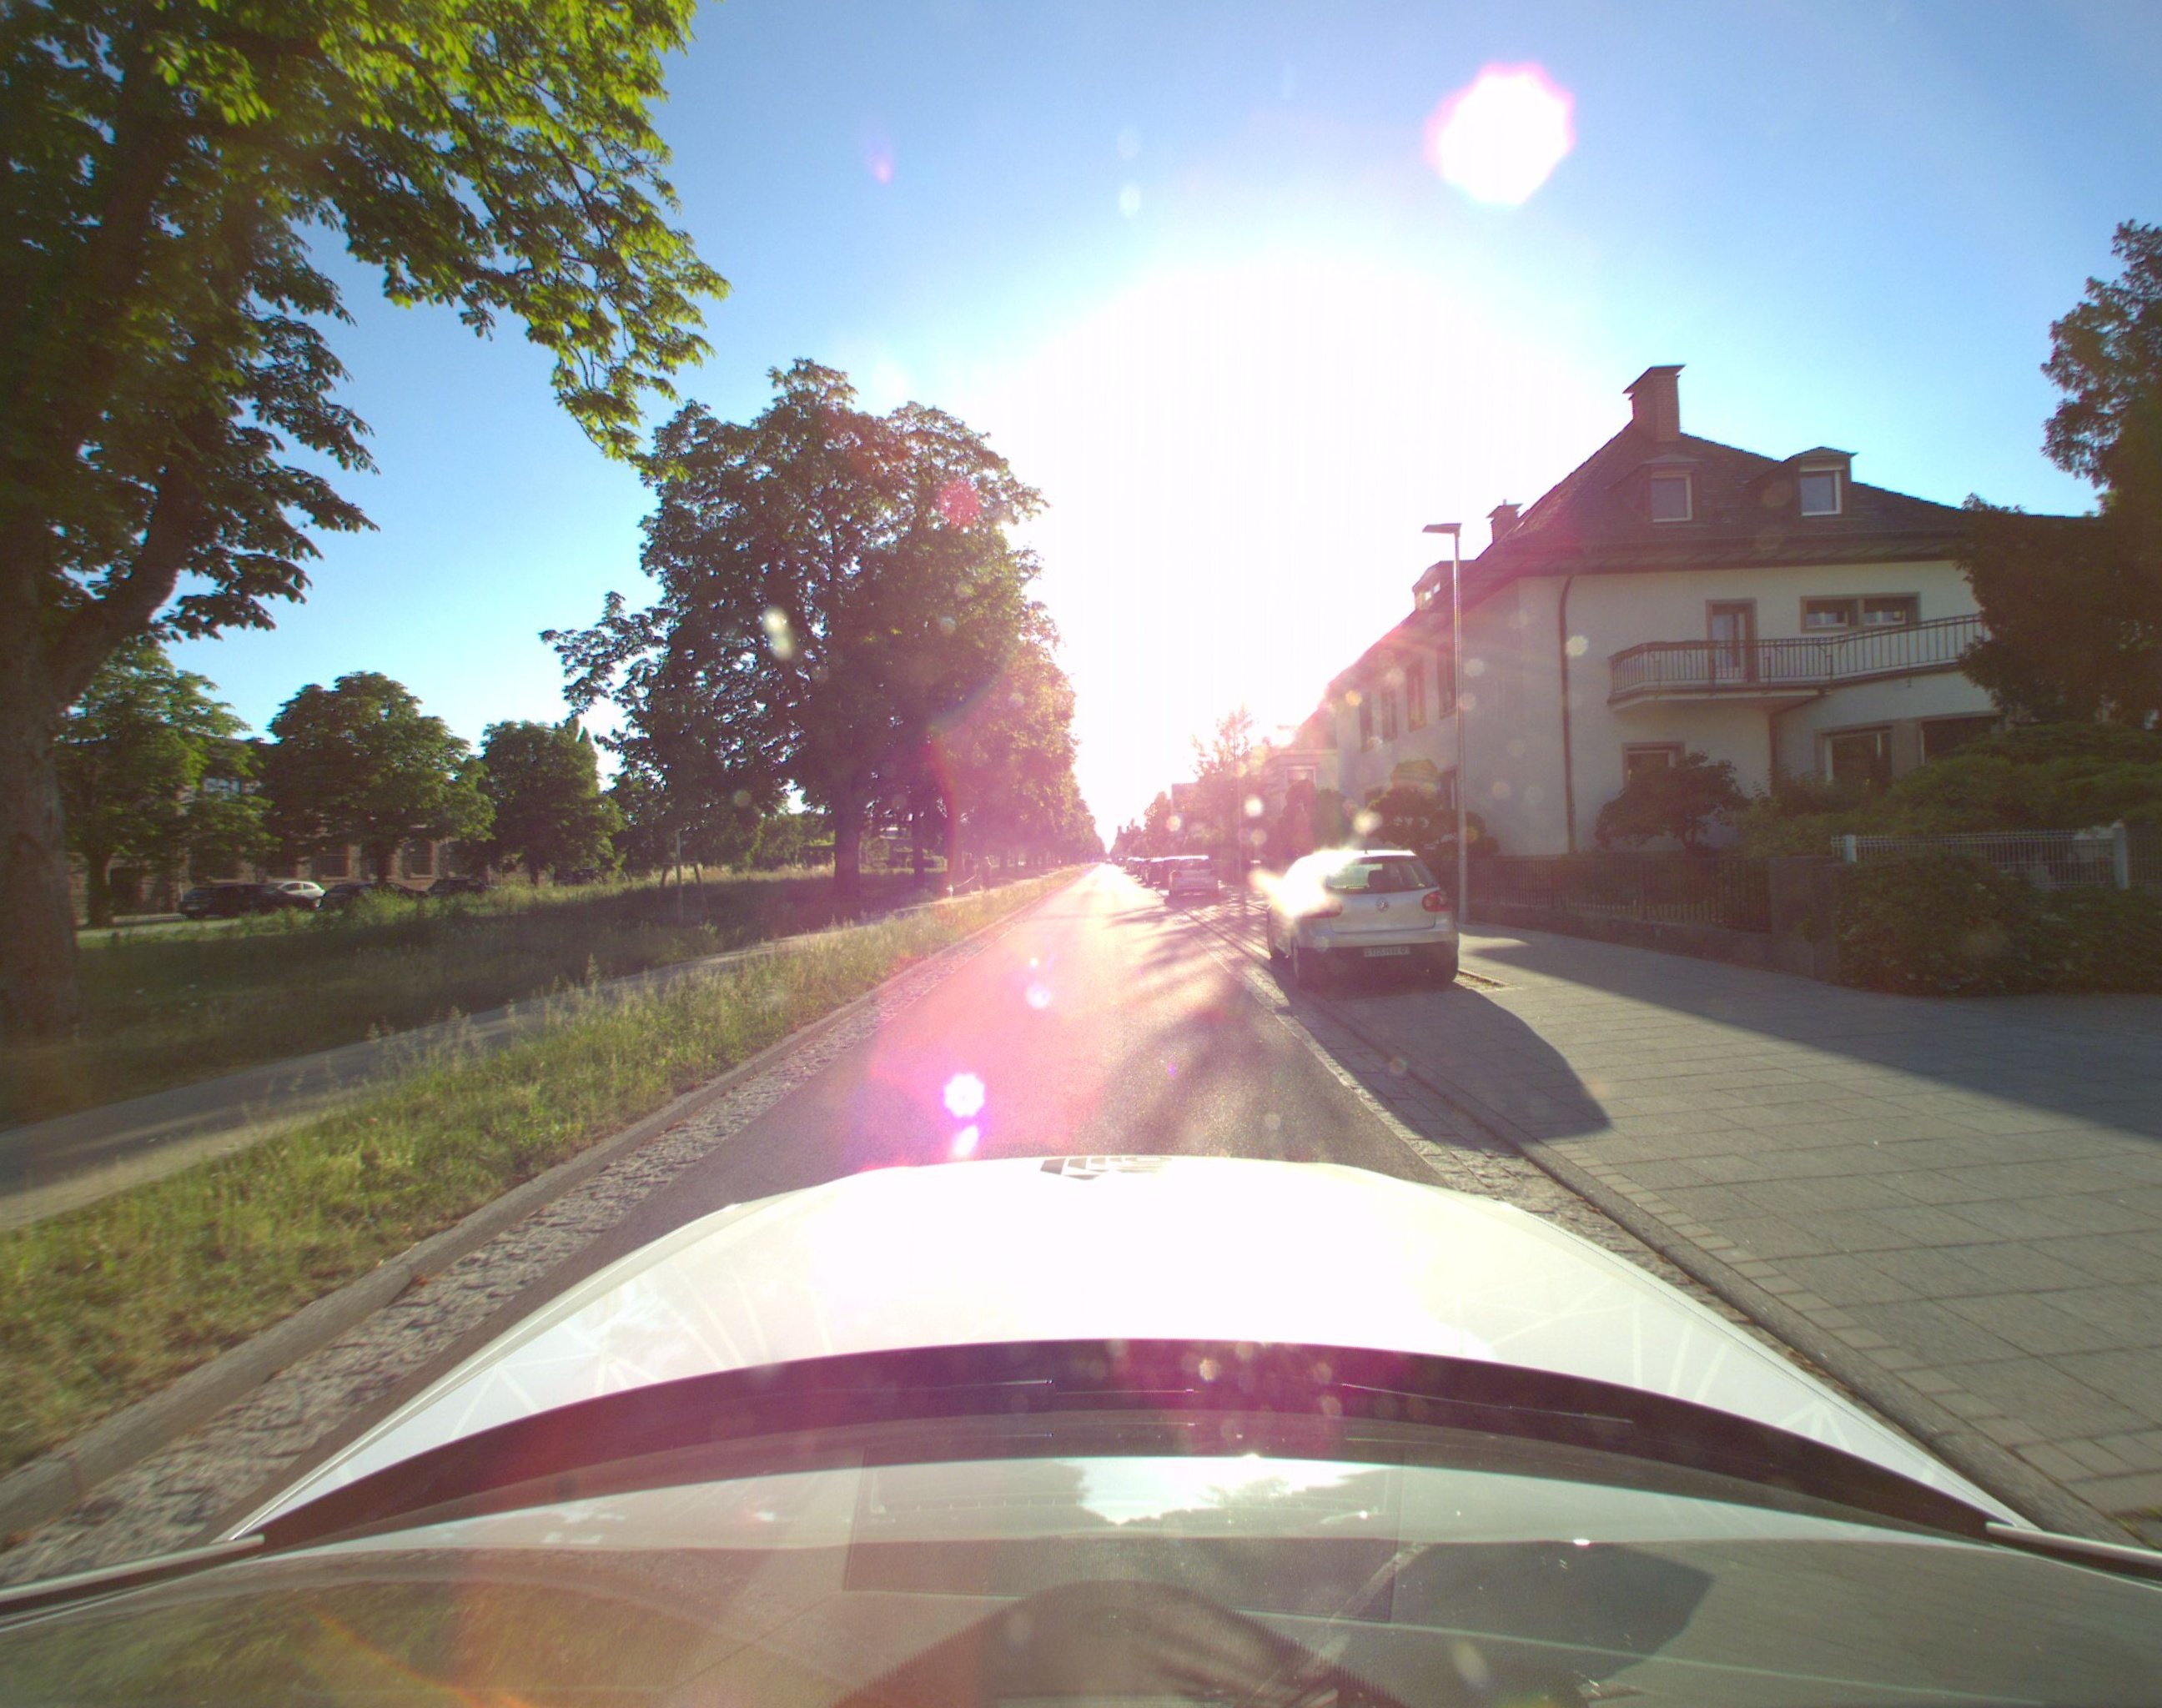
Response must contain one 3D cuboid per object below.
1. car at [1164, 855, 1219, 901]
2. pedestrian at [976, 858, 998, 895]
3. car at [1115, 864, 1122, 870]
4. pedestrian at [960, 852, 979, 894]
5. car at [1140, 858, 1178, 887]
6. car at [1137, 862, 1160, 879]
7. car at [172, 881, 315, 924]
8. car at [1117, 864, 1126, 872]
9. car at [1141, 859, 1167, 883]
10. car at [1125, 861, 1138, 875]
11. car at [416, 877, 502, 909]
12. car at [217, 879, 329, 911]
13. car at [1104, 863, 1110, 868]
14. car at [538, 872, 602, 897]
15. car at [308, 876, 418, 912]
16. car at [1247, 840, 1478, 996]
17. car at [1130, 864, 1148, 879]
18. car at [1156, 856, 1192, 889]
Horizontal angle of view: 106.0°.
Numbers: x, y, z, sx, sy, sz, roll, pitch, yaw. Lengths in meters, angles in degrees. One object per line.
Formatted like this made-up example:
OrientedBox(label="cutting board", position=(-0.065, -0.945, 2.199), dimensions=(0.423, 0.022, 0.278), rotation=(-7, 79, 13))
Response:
OrientedBox(label="car", position=(4.040, 0.847, 30.233), dimensions=(1.621, 1.504, 3.635), rotation=(-4, 0, 3))
OrientedBox(label="pedestrian", position=(-4.181, 0.993, 36.289), dimensions=(0.779, 1.614, 0.953), rotation=(-2, -1, 5))
OrientedBox(label="car", position=(9.438, 3.198, 204.407), dimensions=(1.645, 1.541, 3.269), rotation=(-1, -1, 3))
OrientedBox(label="pedestrian", position=(-4.953, 0.842, 36.187), dimensions=(0.621, 1.831, 0.887), rotation=(-2, -1, 5))
OrientedBox(label="car", position=(4.426, 1.056, 46.663), dimensions=(1.731, 1.449, 4.197), rotation=(-3, -1, 1))
OrientedBox(label="car", position=(5.457, 1.347, 66.283), dimensions=(1.686, 1.248, 3.500), rotation=(-2, -1, 3))
OrientedBox(label="car", position=(-35.752, 2.023, 34.955), dimensions=(1.686, 1.597, 4.222), rotation=(-1, -1, 1))
OrientedBox(label="car", position=(7.948, 2.664, 160.133), dimensions=(1.645, 1.541, 3.269), rotation=(-1, -1, 3))
OrientedBox(label="car", position=(4.968, 1.146, 56.077), dimensions=(1.586, 1.510, 3.593), rotation=(-2, -1, 2))
OrientedBox(label="car", position=(6.061, 1.651, 98.345), dimensions=(1.492, 1.567, 3.269), rotation=(-2, -1, 3))
OrientedBox(label="car", position=(-35.832, 2.212, 47.054), dimensions=(1.686, 1.597, 4.222), rotation=(-1, -1, 1))
OrientedBox(label="car", position=(-40.990, 2.037, 41.474), dimensions=(1.623, 1.406, 4.001), rotation=(-1, -1, 2))
OrientedBox(label="car", position=(7.467, 3.248, 235.904), dimensions=(1.646, 1.541, 3.268), rotation=(-1, -1, 2))
OrientedBox(label="car", position=(-35.550, 2.089, 56.821), dimensions=(1.686, 1.597, 4.222), rotation=(-1, -1, 1))
OrientedBox(label="car", position=(-35.630, 1.960, 40.572), dimensions=(1.686, 1.597, 4.222), rotation=(-1, -1, 1))
OrientedBox(label="car", position=(3.286, 0.679, 10.338), dimensions=(1.736, 1.474, 3.926), rotation=(-5, -1, 4))
OrientedBox(label="car", position=(5.665, 1.695, 79.410), dimensions=(1.645, 1.396, 3.269), rotation=(-2, -1, 3))
OrientedBox(label="car", position=(4.629, 0.903, 40.838), dimensions=(1.649, 1.494, 3.721), rotation=(-3, -1, 5))
